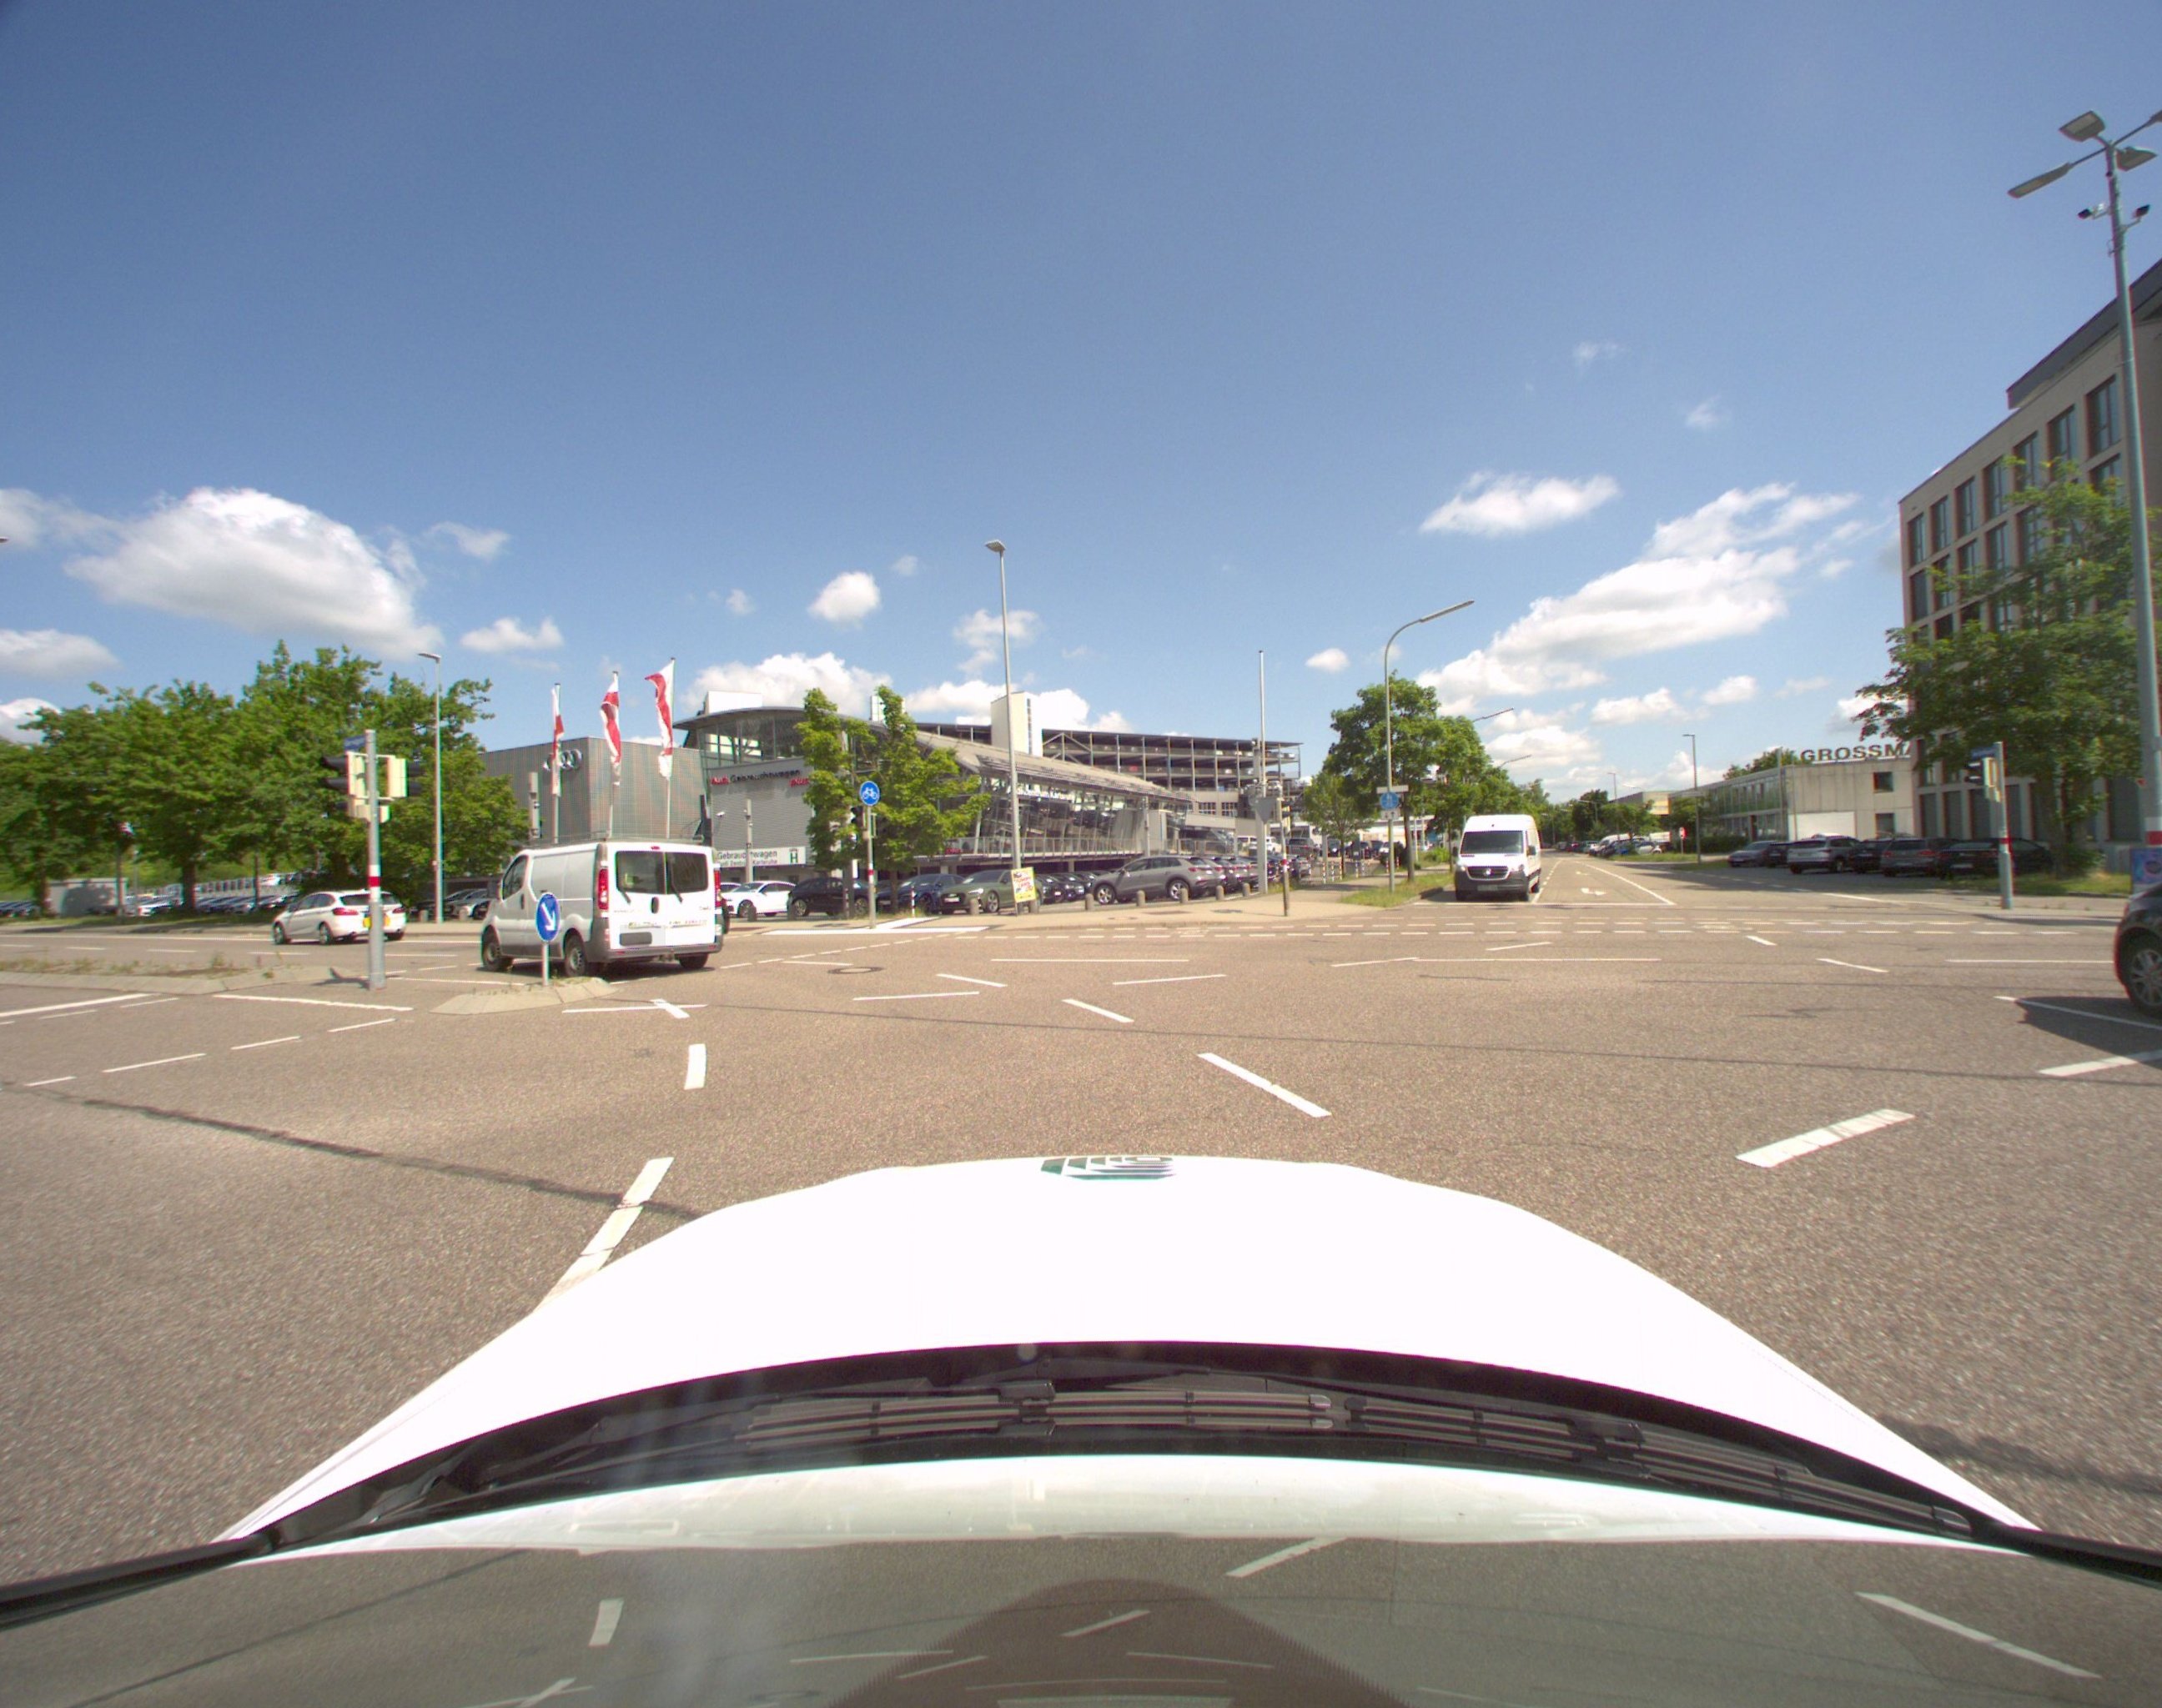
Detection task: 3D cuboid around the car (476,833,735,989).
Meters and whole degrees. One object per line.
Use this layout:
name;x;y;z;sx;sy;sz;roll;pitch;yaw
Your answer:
car;-7.648;0.775;12.933;4.505;2.060;1.992;-1;0;38

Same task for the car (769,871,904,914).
car;-9.058;1.448;30.134;4.697;1.464;1.806;-2;-3;24

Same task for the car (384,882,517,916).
car;-29.824;2.090;38.689;1.884;1.405;4.615;0;-1;25

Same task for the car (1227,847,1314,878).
car;10.785;0.488;46.396;4.532;1.678;1.918;0;0;26

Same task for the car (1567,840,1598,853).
car;80.608;-1.142;130.884;3.953;2.014;2.010;0;0;21

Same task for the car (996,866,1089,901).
car;-2.041;1.503;43.121;4.498;1.740;2.011;0;0;23

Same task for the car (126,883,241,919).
car;-57.844;2.971;52.616;1.884;2.049;4.616;0;0;25

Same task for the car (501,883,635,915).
car;-22.315;1.971;35.637;1.884;1.298;4.615;0;-3;25

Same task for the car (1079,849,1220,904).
car;2.451;0.820;29.137;4.532;1.678;1.918;-4;-2;26

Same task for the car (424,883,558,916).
car;-27.159;2.073;37.668;1.884;1.405;4.615;0;-3;25

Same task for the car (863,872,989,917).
car;-5.172;1.327;27.902;1.884;1.297;4.616;0;0;25

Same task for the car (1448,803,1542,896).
car;13.473;-0.126;26.227;2.112;2.607;6.907;0;0;32

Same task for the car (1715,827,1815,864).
car;39.387;-0.467;47.016;3.953;2.014;2.010;0;0;21

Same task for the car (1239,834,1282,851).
car;17.551;-1.110;79.660;3.955;1.552;1.773;0;0;17

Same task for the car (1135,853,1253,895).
car;4.753;0.818;34.298;4.532;1.678;1.918;0;0;26

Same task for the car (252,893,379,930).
car;-41.568;3.055;44.362;1.884;1.678;4.616;0;0;25

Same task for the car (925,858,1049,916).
car;-2.935;0.999;26.654;1.884;1.678;4.616;0;0;25

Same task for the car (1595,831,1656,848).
car;69.787;-1.828;104.485;6.281;2.013;2.588;0;0;27

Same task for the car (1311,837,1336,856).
car;20.771;-0.597;69.779;1.547;1.552;3.622;0;0;24

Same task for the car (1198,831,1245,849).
car;12.743;-1.270;73.970;3.955;1.552;1.773;0;0;17

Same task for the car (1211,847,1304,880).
car;9.466;0.486;43.786;4.532;1.678;1.918;0;0;26

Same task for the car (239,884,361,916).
car;-44.296;2.568;46.328;1.883;1.498;4.616;-2;0;25

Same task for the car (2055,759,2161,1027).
car;8.107;0.277;4.608;1.806;1.905;4.024;-1;0;26

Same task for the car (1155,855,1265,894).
car;5.780;0.885;36.570;4.532;1.678;1.918;0;0;26

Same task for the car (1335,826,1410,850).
car;26.636;-1.439;74.534;6.330;2.102;1.775;0;0;24

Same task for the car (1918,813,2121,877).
car;31.092;-0.280;27.146;3.953;2.014;2.010;0;0;21

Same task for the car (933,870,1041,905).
car;-4.467;1.616;38.544;4.697;1.511;1.996;-2;-3;24

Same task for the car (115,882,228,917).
car;-60.434;2.986;54.212;1.884;2.049;4.616;0;0;25

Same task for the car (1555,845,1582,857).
car;87.016;-0.518;145.433;3.953;2.014;2.010;0;0;21

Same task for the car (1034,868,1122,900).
car;-0.191;1.643;45.567;4.532;1.678;1.918;0;0;26

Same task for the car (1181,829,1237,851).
car;10.895;-1.168;69.281;4.401;1.801;1.775;0;0;24

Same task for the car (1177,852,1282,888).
car;7.098;0.741;38.980;4.532;1.678;1.918;0;0;26

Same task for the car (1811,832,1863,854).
car;62.168;-0.881;67.037;1.975;1.684;4.023;0;0;24

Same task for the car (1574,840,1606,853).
car;79.421;-1.108;127.158;3.953;2.014;2.010;0;0;21

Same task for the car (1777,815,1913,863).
car;33.868;-0.634;36.257;3.953;2.014;2.010;0;0;21

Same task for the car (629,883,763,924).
car;-14.947;1.891;31.936;1.884;1.297;4.616;0;0;25

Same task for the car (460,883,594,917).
car;-24.680;2.005;36.467;1.884;1.384;4.615;0;-2;25

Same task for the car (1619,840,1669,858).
car;56.940;-0.487;82.397;3.949;1.750;2.012;0;0;29

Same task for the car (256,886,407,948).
car;-22.344;1.830;24.288;3.952;1.618;1.787;0;0;22

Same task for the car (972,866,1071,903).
car;-2.995;1.472;40.849;4.498;1.740;2.011;0;0;23

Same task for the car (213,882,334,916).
car;-46.841;2.563;47.361;1.884;1.678;4.616;0;0;25

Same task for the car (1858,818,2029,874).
car;32.271;-0.279;30.631;3.953;2.014;2.010;0;0;21

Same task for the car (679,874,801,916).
car;-12.656;1.535;30.498;1.774;1.464;4.022;-2;-3;25

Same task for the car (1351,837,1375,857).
car;23.474;-0.564;67.751;1.547;1.552;3.622;0;0;24

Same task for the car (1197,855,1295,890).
car;8.382;0.925;41.410;4.532;1.678;1.918;0;0;26

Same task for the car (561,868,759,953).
car;-9.158;1.159;17.696;3.950;1.629;1.790;-1;0;26

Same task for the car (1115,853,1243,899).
car;3.770;0.818;31.461;4.532;1.678;1.918;0;0;26
